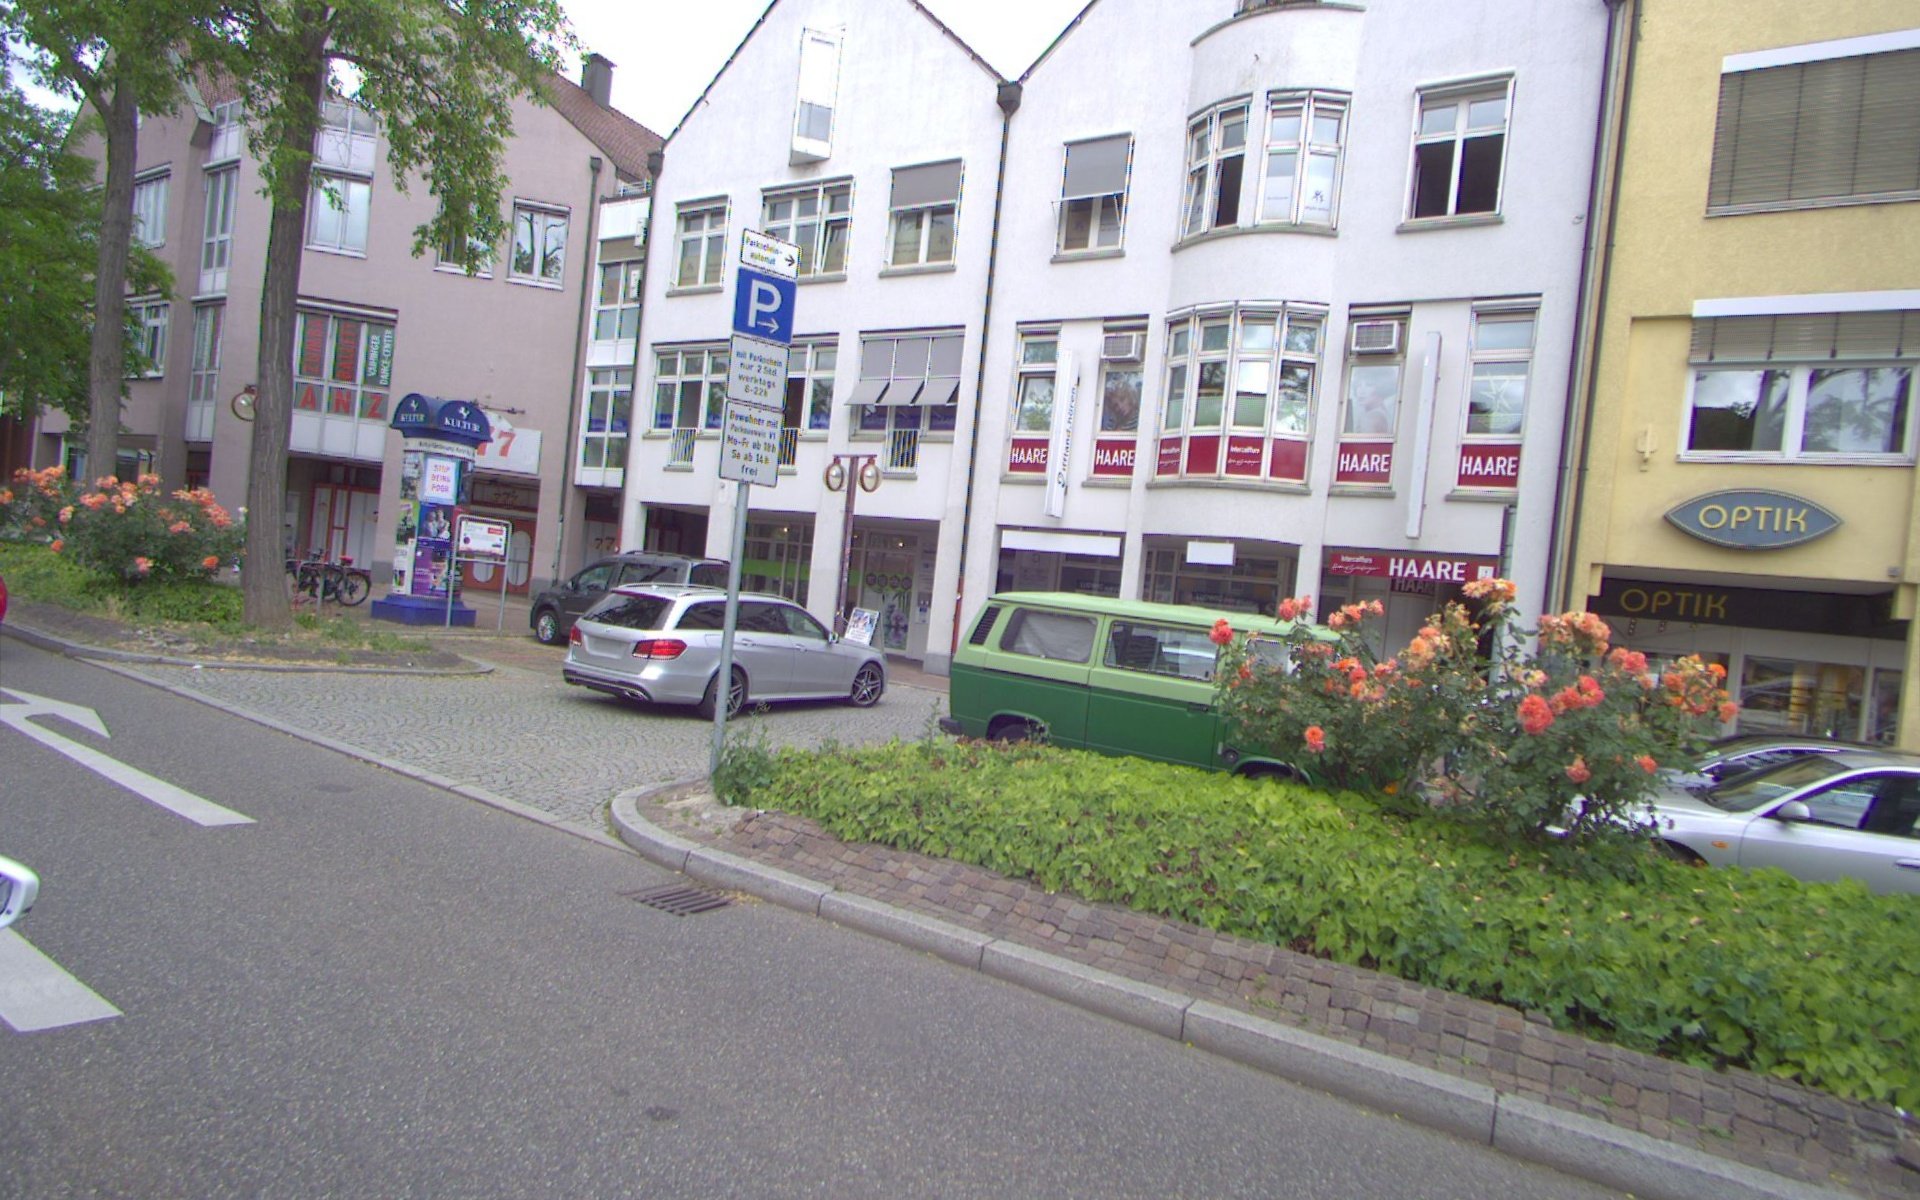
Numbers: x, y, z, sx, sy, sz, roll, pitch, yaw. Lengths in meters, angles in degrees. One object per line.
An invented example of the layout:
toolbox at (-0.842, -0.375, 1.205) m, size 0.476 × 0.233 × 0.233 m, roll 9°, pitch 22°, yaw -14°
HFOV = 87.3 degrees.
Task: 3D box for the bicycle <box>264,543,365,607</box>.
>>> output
bicycle at (-12.783, -0.494, 19.947) m, size 1.545 × 1.061 × 0.405 m, roll 7°, pitch 1°, yaw -17°

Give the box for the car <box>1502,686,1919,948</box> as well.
car at (6.678, 1.635, 7.338) m, size 4.673 × 1.326 × 1.840 m, roll 6°, pitch 1°, yaw 30°

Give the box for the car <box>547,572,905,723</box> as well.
car at (-2.777, 0.625, 13.135) m, size 1.711 × 1.472 × 4.643 m, roll 7°, pitch 1°, yaw 31°

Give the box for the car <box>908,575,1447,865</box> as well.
car at (2.062, 0.962, 9.913) m, size 4.672 × 1.900 × 1.996 m, roll 6°, pitch 1°, yaw 29°

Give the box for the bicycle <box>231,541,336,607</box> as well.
bicycle at (-12.941, -0.491, 19.277) m, size 1.545 × 1.061 × 0.405 m, roll 7°, pitch 1°, yaw -17°

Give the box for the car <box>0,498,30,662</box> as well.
car at (-10.475, -0.427, 9.389) m, size 3.581 × 1.465 × 1.630 m, roll 7°, pitch -2°, yaw 32°

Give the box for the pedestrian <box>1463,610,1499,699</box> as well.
pedestrian at (9.990, 1.046, 19.311) m, size 0.416 × 1.631 × 0.556 m, roll 7°, pitch 1°, yaw 26°

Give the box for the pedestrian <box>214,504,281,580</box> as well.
pedestrian at (-16.964, -1.369, 23.959) m, size 1.075 × 1.647 × 0.809 m, roll 7°, pitch 1°, yaw 29°

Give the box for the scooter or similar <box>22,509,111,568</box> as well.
scooter or similar at (-19.901, -1.363, 22.397) m, size 1.852 × 1.101 × 0.471 m, roll 6°, pitch 1°, yaw 14°

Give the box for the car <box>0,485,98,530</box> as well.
car at (-40.677, -4.124, 43.940) m, size 1.770 × 1.421 × 4.182 m, roll 7°, pitch -1°, yaw 29°

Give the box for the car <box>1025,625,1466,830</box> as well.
car at (3.385, 1.356, 12.111) m, size 4.672 × 1.567 × 1.996 m, roll 6°, pitch 1°, yaw 28°

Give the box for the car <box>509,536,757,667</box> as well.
car at (-5.917, 0.002, 18.070) m, size 4.188 × 1.827 × 1.736 m, roll 7°, pitch 1°, yaw 29°
